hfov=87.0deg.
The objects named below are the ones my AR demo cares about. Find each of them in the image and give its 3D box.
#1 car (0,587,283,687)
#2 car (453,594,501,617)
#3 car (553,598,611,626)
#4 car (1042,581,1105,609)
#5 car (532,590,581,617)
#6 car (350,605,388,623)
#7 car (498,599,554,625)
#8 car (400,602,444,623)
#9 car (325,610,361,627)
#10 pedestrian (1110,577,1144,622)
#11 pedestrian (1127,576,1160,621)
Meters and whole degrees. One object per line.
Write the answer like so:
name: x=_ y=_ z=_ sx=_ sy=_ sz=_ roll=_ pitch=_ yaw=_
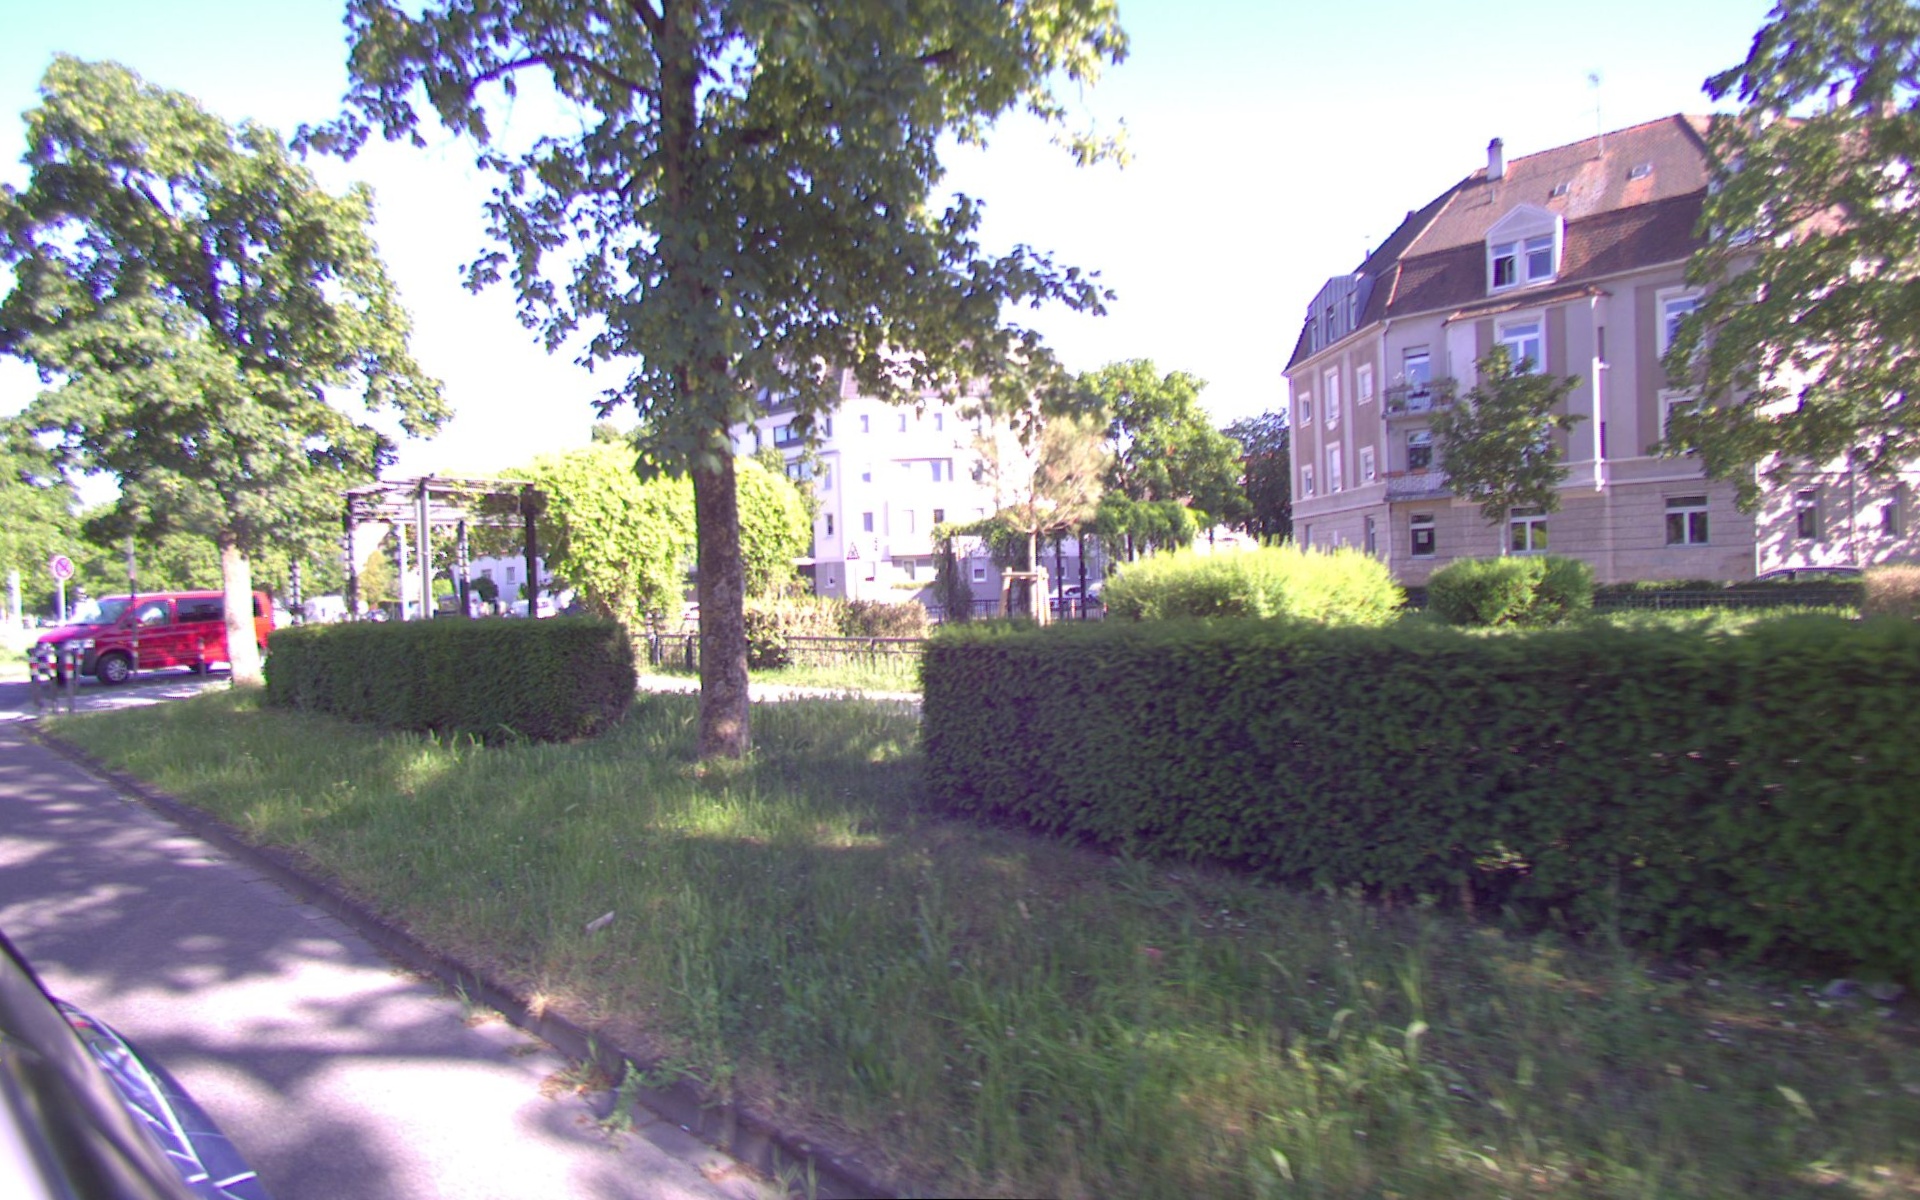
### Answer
car: x=-18.861 y=0.767 z=23.618 sx=2.077 sy=2.027 sz=4.815 roll=-1 pitch=1 yaw=19
car: x=-36.126 y=0.418 z=75.710 sx=3.998 sy=1.687 sz=1.776 roll=-1 pitch=0 yaw=41
car: x=-24.331 y=0.788 z=65.064 sx=4.130 sy=1.706 sz=1.776 roll=-1 pitch=0 yaw=41
car: x=6.950 y=-0.309 z=61.823 sx=1.800 sy=1.521 sz=3.945 roll=-1 pitch=1 yaw=42
car: x=-31.685 y=0.317 z=79.438 sx=4.406 sy=2.044 sz=1.915 roll=-1 pitch=0 yaw=43
car: x=-52.566 y=1.277 z=89.994 sx=3.998 sy=1.522 sz=1.776 roll=-1 pitch=0 yaw=41
car: x=-30.202 y=0.821 z=70.306 sx=4.407 sy=1.706 sz=2.029 roll=-1 pitch=0 yaw=44
car: x=-44.059 y=1.029 z=82.837 sx=4.404 sy=1.625 sz=1.776 roll=-1 pitch=0 yaw=41
car: x=-58.071 y=1.701 z=95.238 sx=3.998 sy=1.522 sz=1.776 roll=-1 pitch=0 yaw=41
pedestrian: x=4.713 y=-0.017 z=28.538 sx=0.640 sy=1.247 sz=0.651 roll=-3 pitch=1 yaw=-43
pedestrian: x=5.259 y=-0.045 z=29.040 sx=0.640 sy=1.247 sz=0.651 roll=-3 pitch=1 yaw=-43
